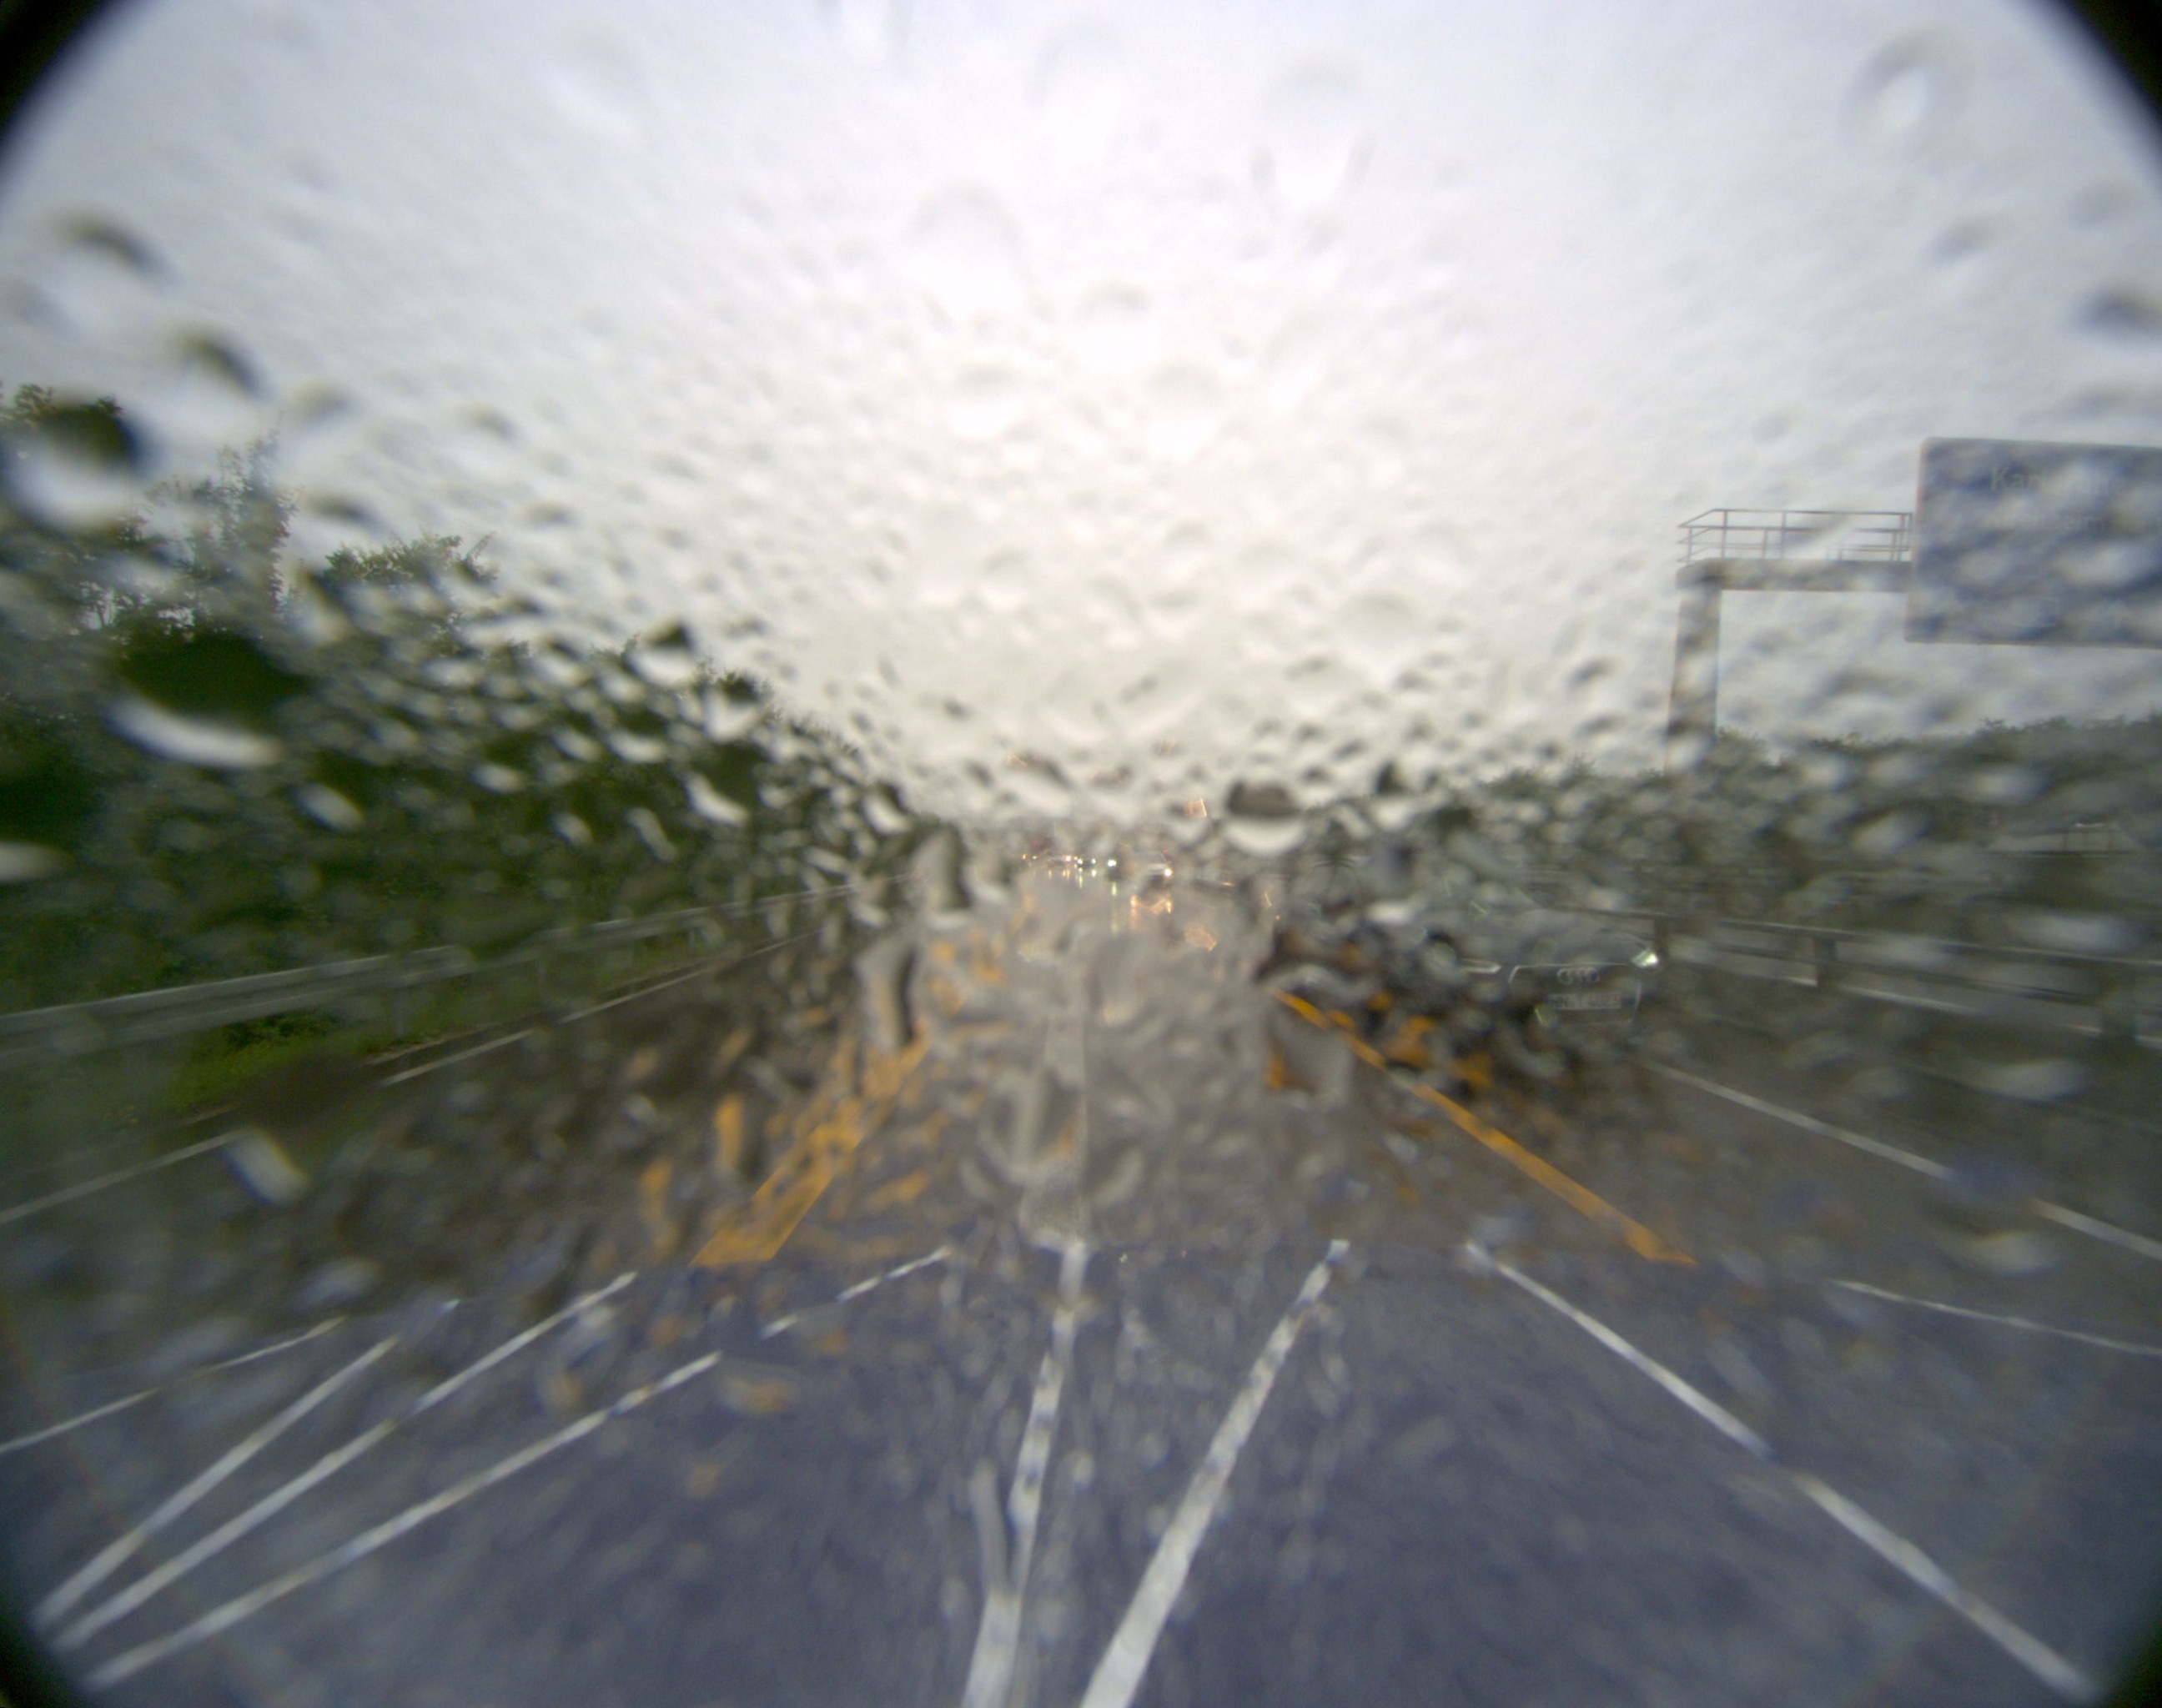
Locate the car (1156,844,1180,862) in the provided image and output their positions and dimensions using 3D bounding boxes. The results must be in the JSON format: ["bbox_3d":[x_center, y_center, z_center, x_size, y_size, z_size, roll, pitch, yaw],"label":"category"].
[{"bbox_3d":[8.312,-0.104,72.978,1.783,1.595,4.315,-3,1,-1],"label":"car"}]

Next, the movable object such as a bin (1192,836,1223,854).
[{"bbox_3d":[21.380,-1.497,128.706,3.775,2.782,6.327,-3,1,-2],"label":"movable object such as a bin"}]

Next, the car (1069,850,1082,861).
[{"bbox_3d":[-0.932,0.167,119.273,1.845,1.586,3.998,-3,1,-3],"label":"car"}]

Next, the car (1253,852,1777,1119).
[{"bbox_3d":[3.149,0.785,6.885,1.999,1.489,4.629,-2,1,-1],"label":"car"}]

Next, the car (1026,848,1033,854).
[{"bbox_3d":[-14.025,-0.803,207.934,1.752,1.579,3.998,-3,1,-3],"label":"car"}]

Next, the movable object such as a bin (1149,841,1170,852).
[{"bbox_3d":[17.556,-1.665,169.929,3.449,2.281,5.096,-3,1,-9],"label":"movable object such as a bin"}]

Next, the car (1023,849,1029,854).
[{"bbox_3d":[-17.249,-0.712,237.433,1.752,1.579,3.998,-3,1,-3],"label":"car"}]

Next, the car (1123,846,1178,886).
[{"bbox_3d":[2.968,0.525,33.196,1.978,1.586,4.309,-2,-1,0],"label":"car"}]

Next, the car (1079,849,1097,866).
[{"bbox_3d":[0.752,0.368,86.431,1.695,1.740,3.998,-3,1,-3],"label":"car"}]

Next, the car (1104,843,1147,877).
[{"bbox_3d":[2.833,0.332,49.601,2.212,2.002,5.562,-3,1,-2],"label":"car"}]

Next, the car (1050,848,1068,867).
[{"bbox_3d":[-2.490,0.345,86.682,1.882,2.002,3.998,-3,1,-3],"label":"car"}]

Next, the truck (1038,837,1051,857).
[{"bbox_3d":[-7.694,-1.490,158.914,2.484,4.061,8.700,-3,1,-3],"label":"truck"}]

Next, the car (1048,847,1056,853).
[{"bbox_3d":[-7.196,-1.000,187.393,1.752,1.579,3.998,-3,1,-3],"label":"car"}]
